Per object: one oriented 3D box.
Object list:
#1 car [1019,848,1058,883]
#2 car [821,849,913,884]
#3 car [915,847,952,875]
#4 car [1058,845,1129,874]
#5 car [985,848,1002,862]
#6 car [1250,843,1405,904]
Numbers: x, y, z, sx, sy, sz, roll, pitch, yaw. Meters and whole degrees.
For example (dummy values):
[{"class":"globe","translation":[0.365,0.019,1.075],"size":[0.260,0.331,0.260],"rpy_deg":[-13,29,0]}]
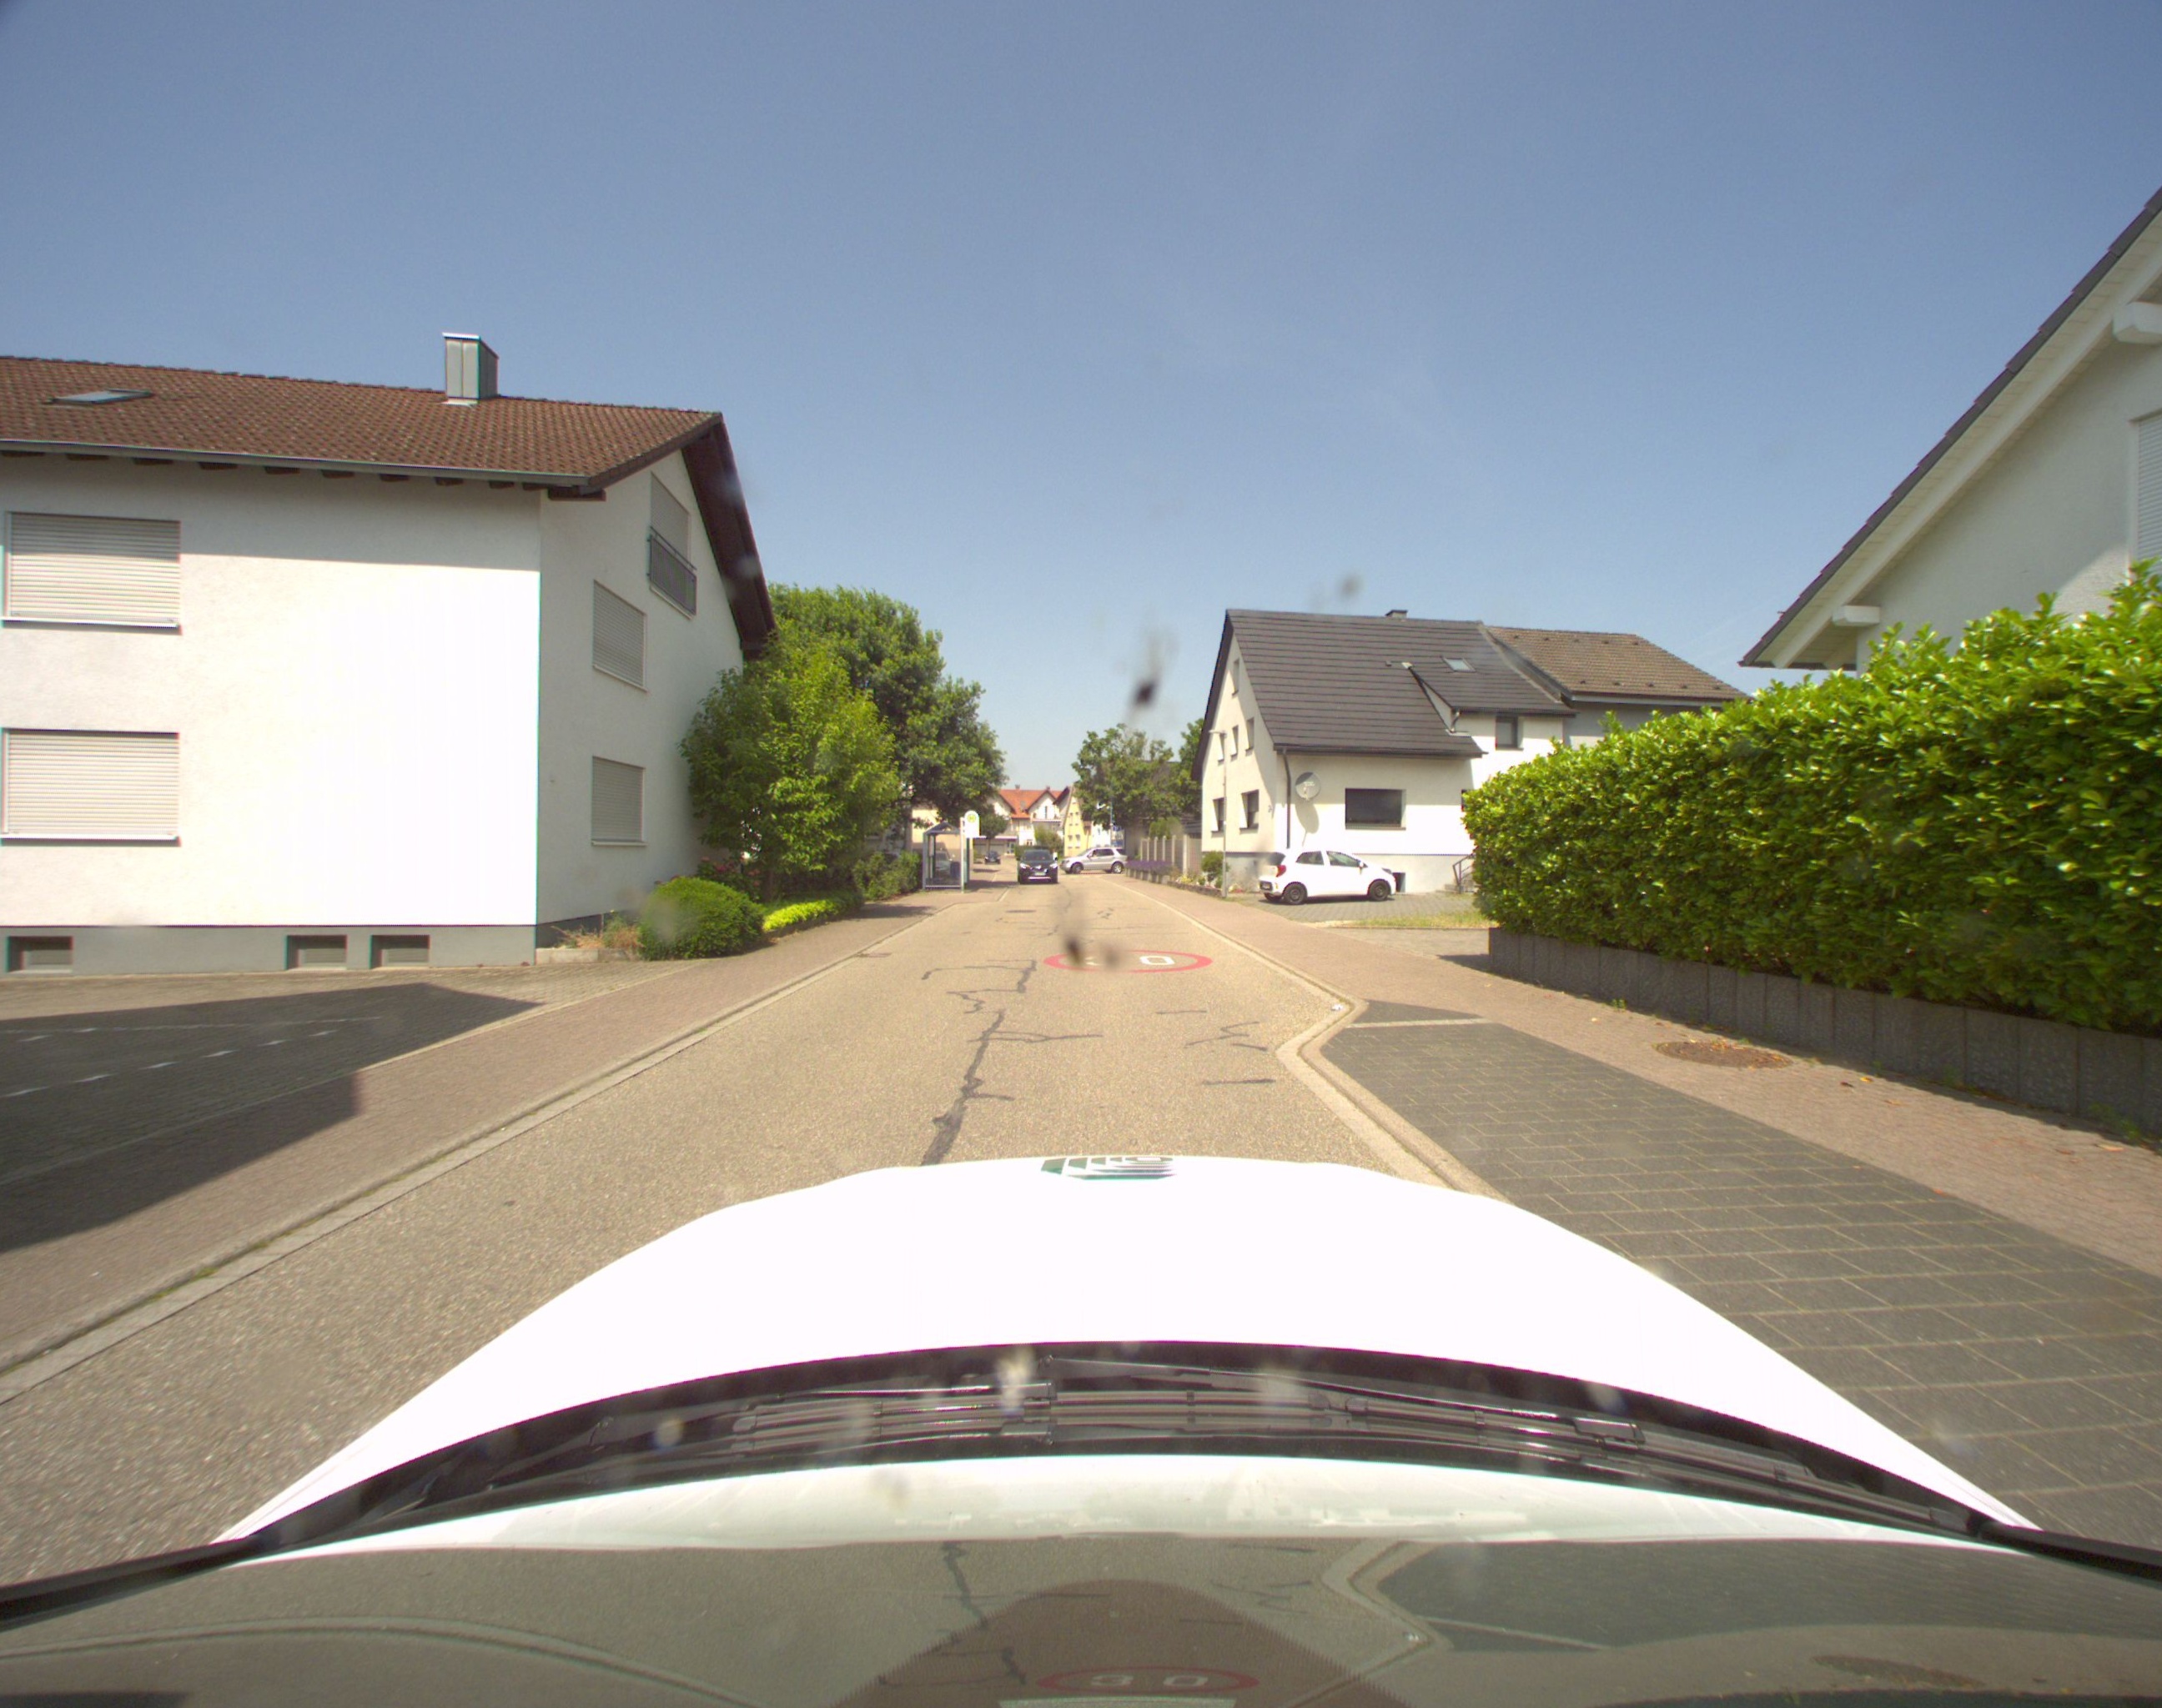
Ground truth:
[{"class":"car","translation":[-2.108,0.514,39.632],"size":[1.773,1.623,4.098],"rpy_deg":[-1,0,-5]},{"class":"car","translation":[-10.577,0.601,40.528],"size":[4.155,1.538,1.770],"rpy_deg":[-2,1,-6]},{"class":"car","translation":[-8.032,0.336,44.733],"size":[1.777,1.434,4.046],"rpy_deg":[0,1,-7]},{"class":"car","translation":[0.808,0.364,53.805],"size":[4.324,1.766,1.882],"rpy_deg":[-1,2,-15]},{"class":"car","translation":[-9.734,0.080,90.275],"size":[1.626,1.486,3.987],"rpy_deg":[-1,1,-10]},{"class":"car","translation":[6.702,0.481,22.312],"size":[3.656,1.474,1.760],"rpy_deg":[-2,1,-9]}]
